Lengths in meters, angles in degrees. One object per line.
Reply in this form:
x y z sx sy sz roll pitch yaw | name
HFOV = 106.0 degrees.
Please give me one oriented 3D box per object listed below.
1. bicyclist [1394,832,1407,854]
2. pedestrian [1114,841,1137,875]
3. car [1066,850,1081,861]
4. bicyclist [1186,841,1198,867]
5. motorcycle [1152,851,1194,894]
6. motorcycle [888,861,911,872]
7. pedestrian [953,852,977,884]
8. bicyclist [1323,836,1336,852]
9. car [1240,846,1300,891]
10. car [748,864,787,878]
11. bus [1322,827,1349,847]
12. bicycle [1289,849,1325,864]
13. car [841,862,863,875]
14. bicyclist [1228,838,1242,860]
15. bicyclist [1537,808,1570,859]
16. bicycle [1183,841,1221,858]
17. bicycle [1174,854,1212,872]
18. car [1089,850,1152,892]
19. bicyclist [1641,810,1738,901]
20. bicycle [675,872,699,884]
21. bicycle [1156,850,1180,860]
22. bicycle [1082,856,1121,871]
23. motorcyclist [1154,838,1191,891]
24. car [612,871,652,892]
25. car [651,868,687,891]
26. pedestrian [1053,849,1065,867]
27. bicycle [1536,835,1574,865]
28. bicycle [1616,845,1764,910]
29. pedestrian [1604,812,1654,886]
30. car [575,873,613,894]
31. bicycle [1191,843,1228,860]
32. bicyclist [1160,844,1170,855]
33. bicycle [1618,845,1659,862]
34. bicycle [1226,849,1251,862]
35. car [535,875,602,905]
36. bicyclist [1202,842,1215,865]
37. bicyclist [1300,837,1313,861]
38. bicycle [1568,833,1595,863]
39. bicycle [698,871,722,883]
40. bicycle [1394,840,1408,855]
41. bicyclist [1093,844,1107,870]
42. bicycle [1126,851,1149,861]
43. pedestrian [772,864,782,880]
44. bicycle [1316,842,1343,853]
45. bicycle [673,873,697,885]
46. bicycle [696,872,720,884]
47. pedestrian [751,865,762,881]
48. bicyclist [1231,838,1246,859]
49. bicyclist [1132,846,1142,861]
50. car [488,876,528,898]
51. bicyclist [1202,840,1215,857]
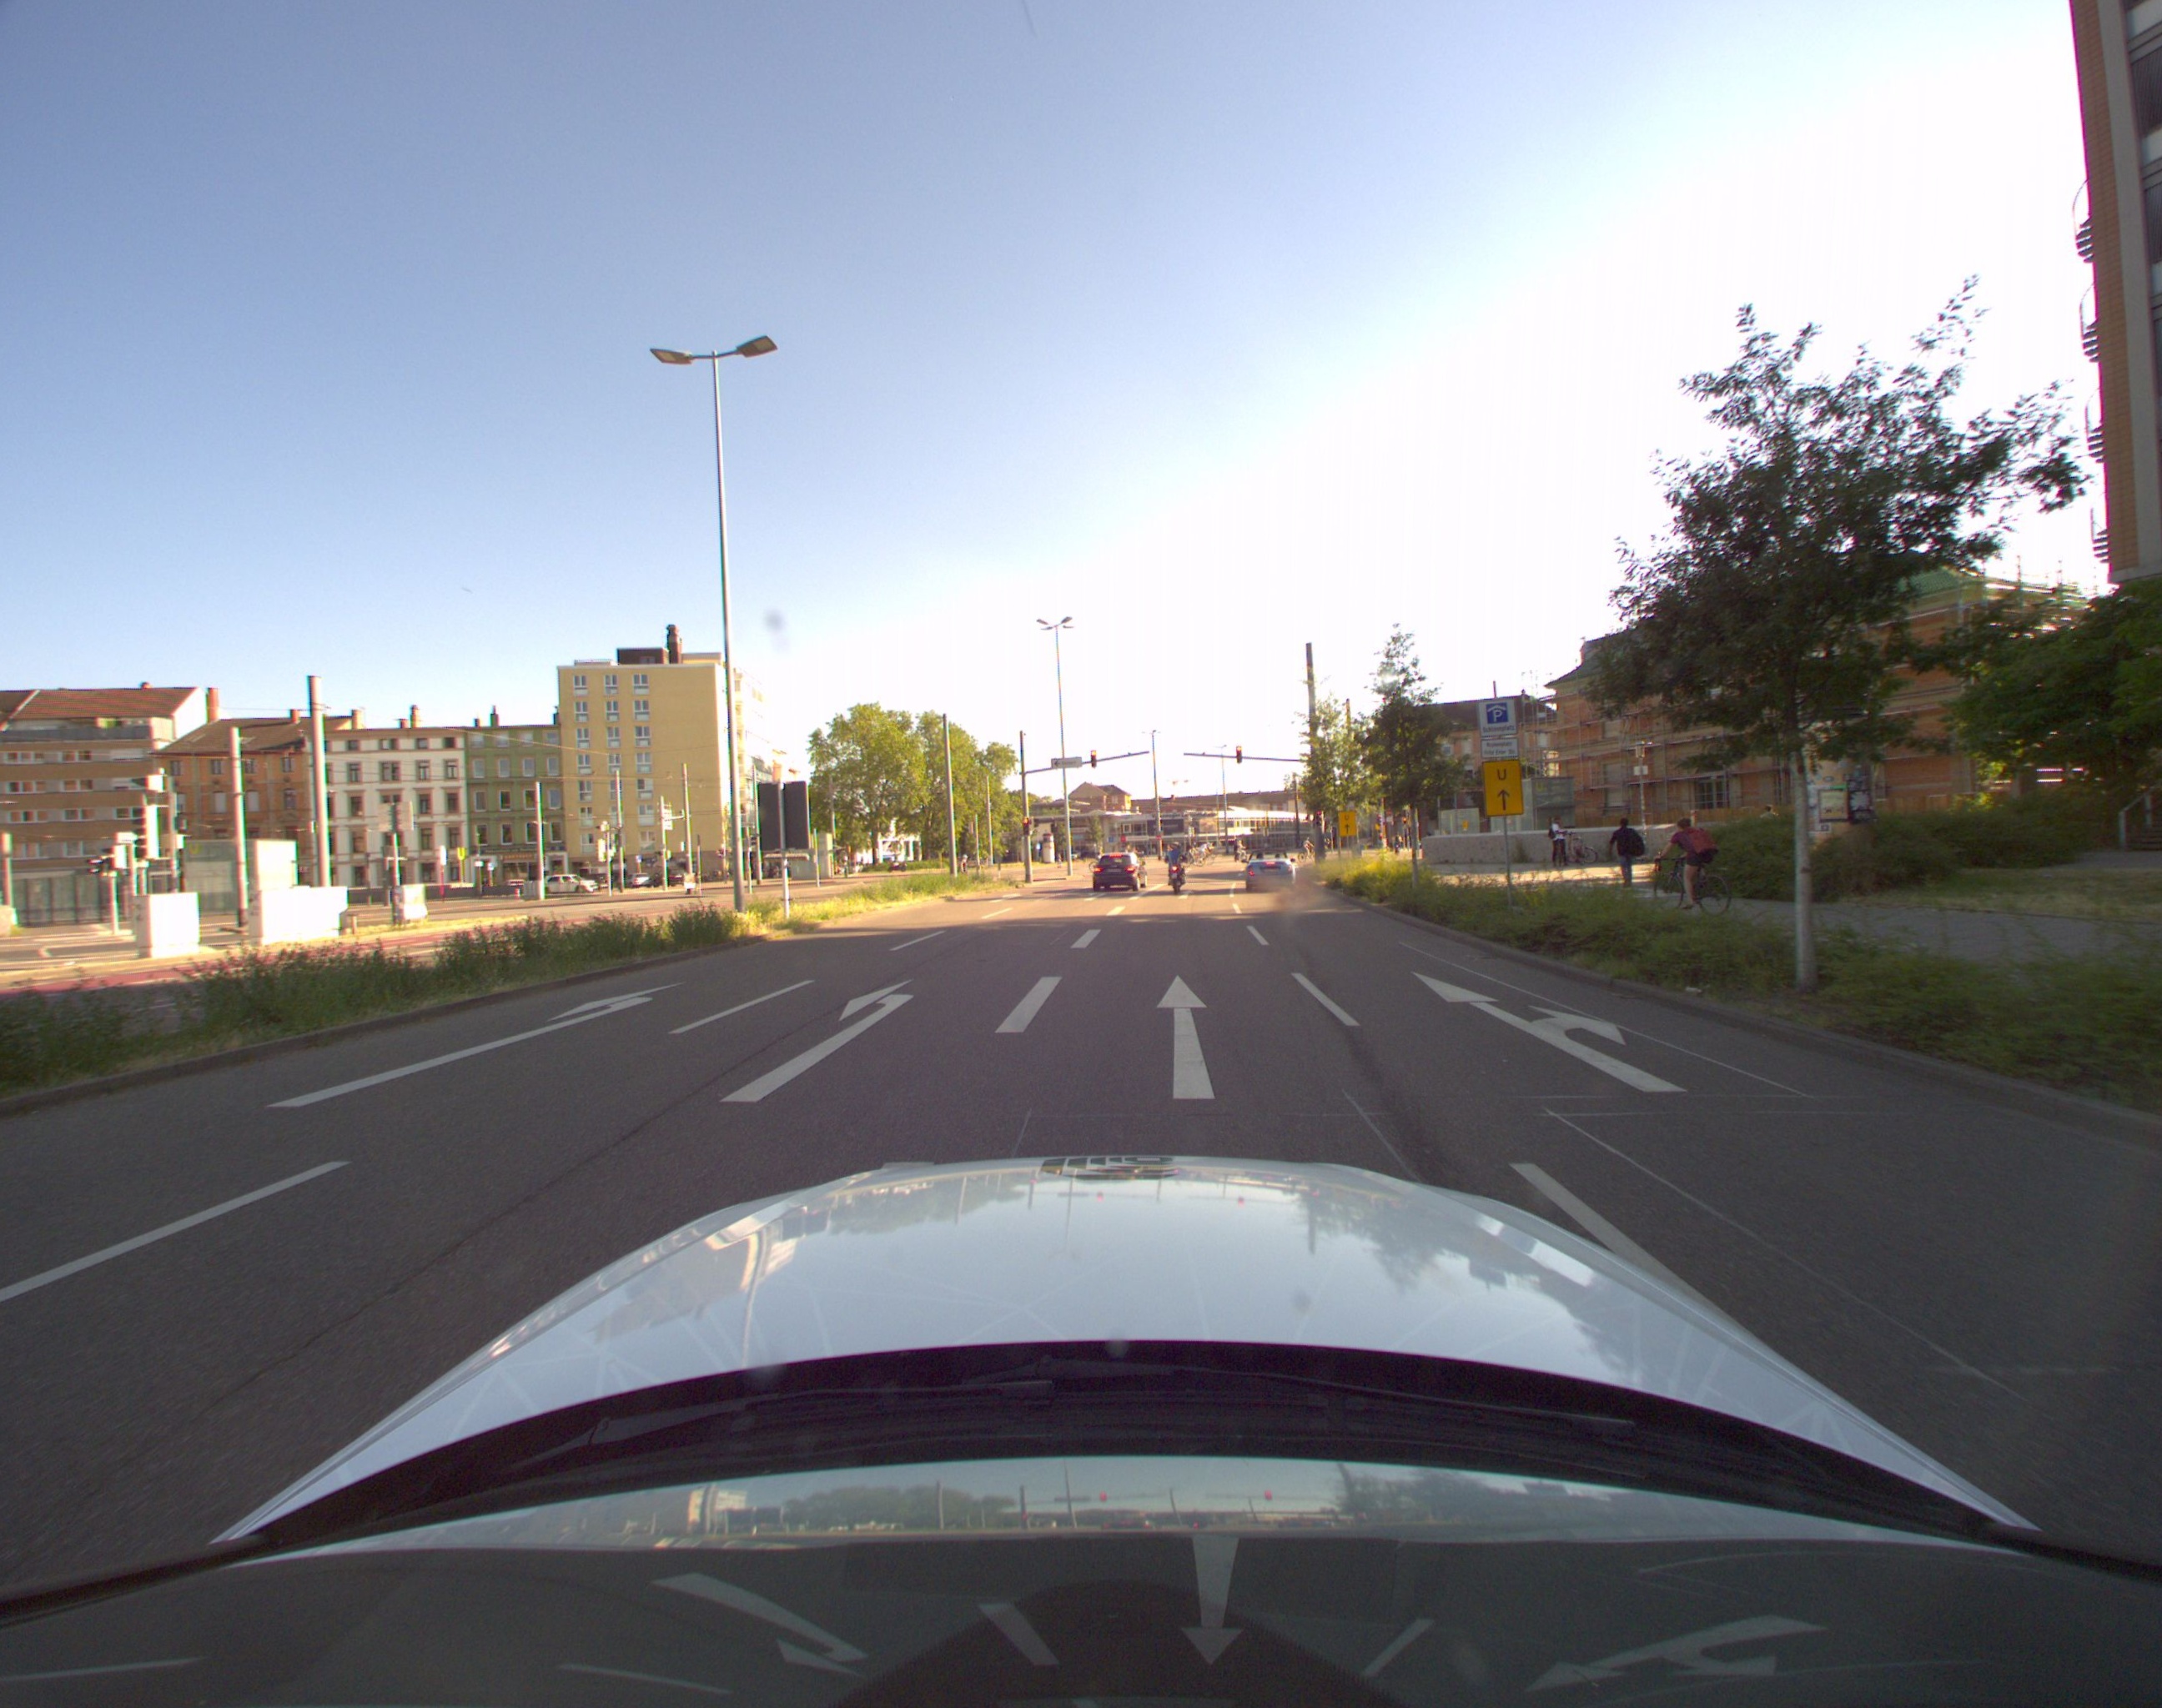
24.523 -0.829 62.514 0.783 1.593 0.952 -5 -1 19 | bicyclist
2.284 0.217 41.814 0.831 1.671 0.692 -3 0 -28 | pedestrian
-1.274 0.290 134.038 1.984 1.534 4.007 -2 2 6 | car
7.729 -0.005 56.585 0.647 1.690 0.860 -2 2 0 | bicyclist
3.142 0.602 27.630 1.088 1.377 2.662 -2 0 12 | motorcycle
-19.193 1.350 86.260 2.278 1.054 0.687 -2 2 -2 | motorcycle
-6.062 0.736 42.469 1.089 1.606 0.699 -2 2 1 | pedestrian
25.356 -1.011 83.165 0.922 1.559 0.962 -3 0 -4 | bicyclist
6.697 0.461 28.595 1.787 1.444 3.996 -1 0 17 | car
-37.342 2.008 97.045 3.989 1.422 1.806 -3 0 -12 | car
41.176 -2.859 131.603 2.332 2.882 9.639 -1 2 28 | bus
16.006 0.166 57.781 2.292 0.905 0.859 -2 2 -5 | bicycle
-28.070 1.715 99.967 1.844 1.452 3.993 -2 0 -5 | car
12.367 -0.405 65.269 0.856 1.778 0.588 -3 0 44 | bicyclist
17.560 -0.752 30.299 0.780 1.786 0.898 -5 -1 19 | bicyclist
13.456 -0.480 90.368 3.983 1.689 1.136 -2 2 -7 | bicycle
7.761 0.619 56.600 2.485 1.133 0.860 -2 2 -1 | bicycle
1.583 0.606 31.411 1.789 1.444 3.991 -1 0 11 | car
9.777 0.036 13.134 0.717 1.384 1.075 -2 -1 0 | bicyclist
-40.677 2.502 84.152 2.041 1.090 0.775 -3 0 -8 | bicycle
9.181 0.103 86.193 2.299 0.959 0.856 -3 2 -14 | bicycle
1.393 0.614 54.811 2.493 0.874 0.857 -2 2 -11 | bicycle
3.117 0.345 27.588 1.088 1.721 0.940 -2 0 12 | motorcyclist
-41.332 2.503 74.906 3.949 1.748 1.851 -1 2 40 | car
-38.281 2.357 75.640 1.863 1.857 3.951 -4 3 -43 | car
-2.300 0.417 85.261 0.983 1.816 0.922 -2 2 9 | pedestrian
17.626 -0.143 30.333 0.783 1.039 1.972 -5 -1 19 | bicycle
9.786 0.370 13.222 0.717 0.952 2.249 -2 -1 1 | bicycle
12.805 -0.114 19.070 0.798 1.659 0.795 -3 -1 27 | pedestrian
-44.535 2.651 74.450 3.949 1.719 1.851 0 2 42 | car
9.438 -0.175 59.903 2.491 1.133 0.858 -2 2 -7 | bicycle
8.896 -0.440 86.100 0.713 1.142 0.833 -3 2 -14 | bicyclist
19.558 -0.025 28.590 0.428 0.540 1.356 -4 1 -2 | bicycle
12.682 0.113 65.615 0.849 0.905 2.318 0 2 42 | bicycle
-39.073 2.719 62.202 3.732 2.013 1.995 -2 2 -9 | car
9.374 -0.040 59.896 0.648 1.690 0.858 -2 2 -7 | bicyclist
15.995 -0.362 57.775 0.648 1.690 0.859 -2 2 -4 | bicyclist
18.614 -0.231 30.252 0.620 1.039 1.976 -5 -1 36 | bicycle
-38.484 2.401 84.467 2.041 1.090 0.775 -3 0 -8 | bicycle
24.535 -0.496 62.464 0.783 1.039 1.972 -5 -1 19 | bicycle
1.259 0.197 54.763 0.745 1.690 0.857 -2 2 -10 | bicyclist
6.162 0.175 88.740 2.293 0.979 0.858 -2 2 -7 | bicycle
-32.679 1.933 87.498 0.775 1.676 0.781 -3 0 -6 | pedestrian
25.332 -0.655 83.161 2.434 1.003 0.961 -3 0 -5 | bicycle
-40.478 2.514 83.302 2.041 1.090 0.775 -3 0 -8 | bicycle
-38.323 2.423 83.635 2.041 1.090 0.775 -3 0 -8 | bicycle
-34.686 2.050 87.113 0.775 1.676 0.781 -3 0 -6 | pedestrian
12.692 -0.451 65.620 0.849 1.690 0.655 -1 2 42 | bicyclist
6.071 -0.072 88.709 0.923 1.559 0.858 -2 2 -7 | bicyclist
-51.925 2.946 73.765 3.959 1.719 2.100 0 2 42 | car
14.156 -0.607 90.451 1.069 1.900 1.120 -2 2 -7 | bicyclist
